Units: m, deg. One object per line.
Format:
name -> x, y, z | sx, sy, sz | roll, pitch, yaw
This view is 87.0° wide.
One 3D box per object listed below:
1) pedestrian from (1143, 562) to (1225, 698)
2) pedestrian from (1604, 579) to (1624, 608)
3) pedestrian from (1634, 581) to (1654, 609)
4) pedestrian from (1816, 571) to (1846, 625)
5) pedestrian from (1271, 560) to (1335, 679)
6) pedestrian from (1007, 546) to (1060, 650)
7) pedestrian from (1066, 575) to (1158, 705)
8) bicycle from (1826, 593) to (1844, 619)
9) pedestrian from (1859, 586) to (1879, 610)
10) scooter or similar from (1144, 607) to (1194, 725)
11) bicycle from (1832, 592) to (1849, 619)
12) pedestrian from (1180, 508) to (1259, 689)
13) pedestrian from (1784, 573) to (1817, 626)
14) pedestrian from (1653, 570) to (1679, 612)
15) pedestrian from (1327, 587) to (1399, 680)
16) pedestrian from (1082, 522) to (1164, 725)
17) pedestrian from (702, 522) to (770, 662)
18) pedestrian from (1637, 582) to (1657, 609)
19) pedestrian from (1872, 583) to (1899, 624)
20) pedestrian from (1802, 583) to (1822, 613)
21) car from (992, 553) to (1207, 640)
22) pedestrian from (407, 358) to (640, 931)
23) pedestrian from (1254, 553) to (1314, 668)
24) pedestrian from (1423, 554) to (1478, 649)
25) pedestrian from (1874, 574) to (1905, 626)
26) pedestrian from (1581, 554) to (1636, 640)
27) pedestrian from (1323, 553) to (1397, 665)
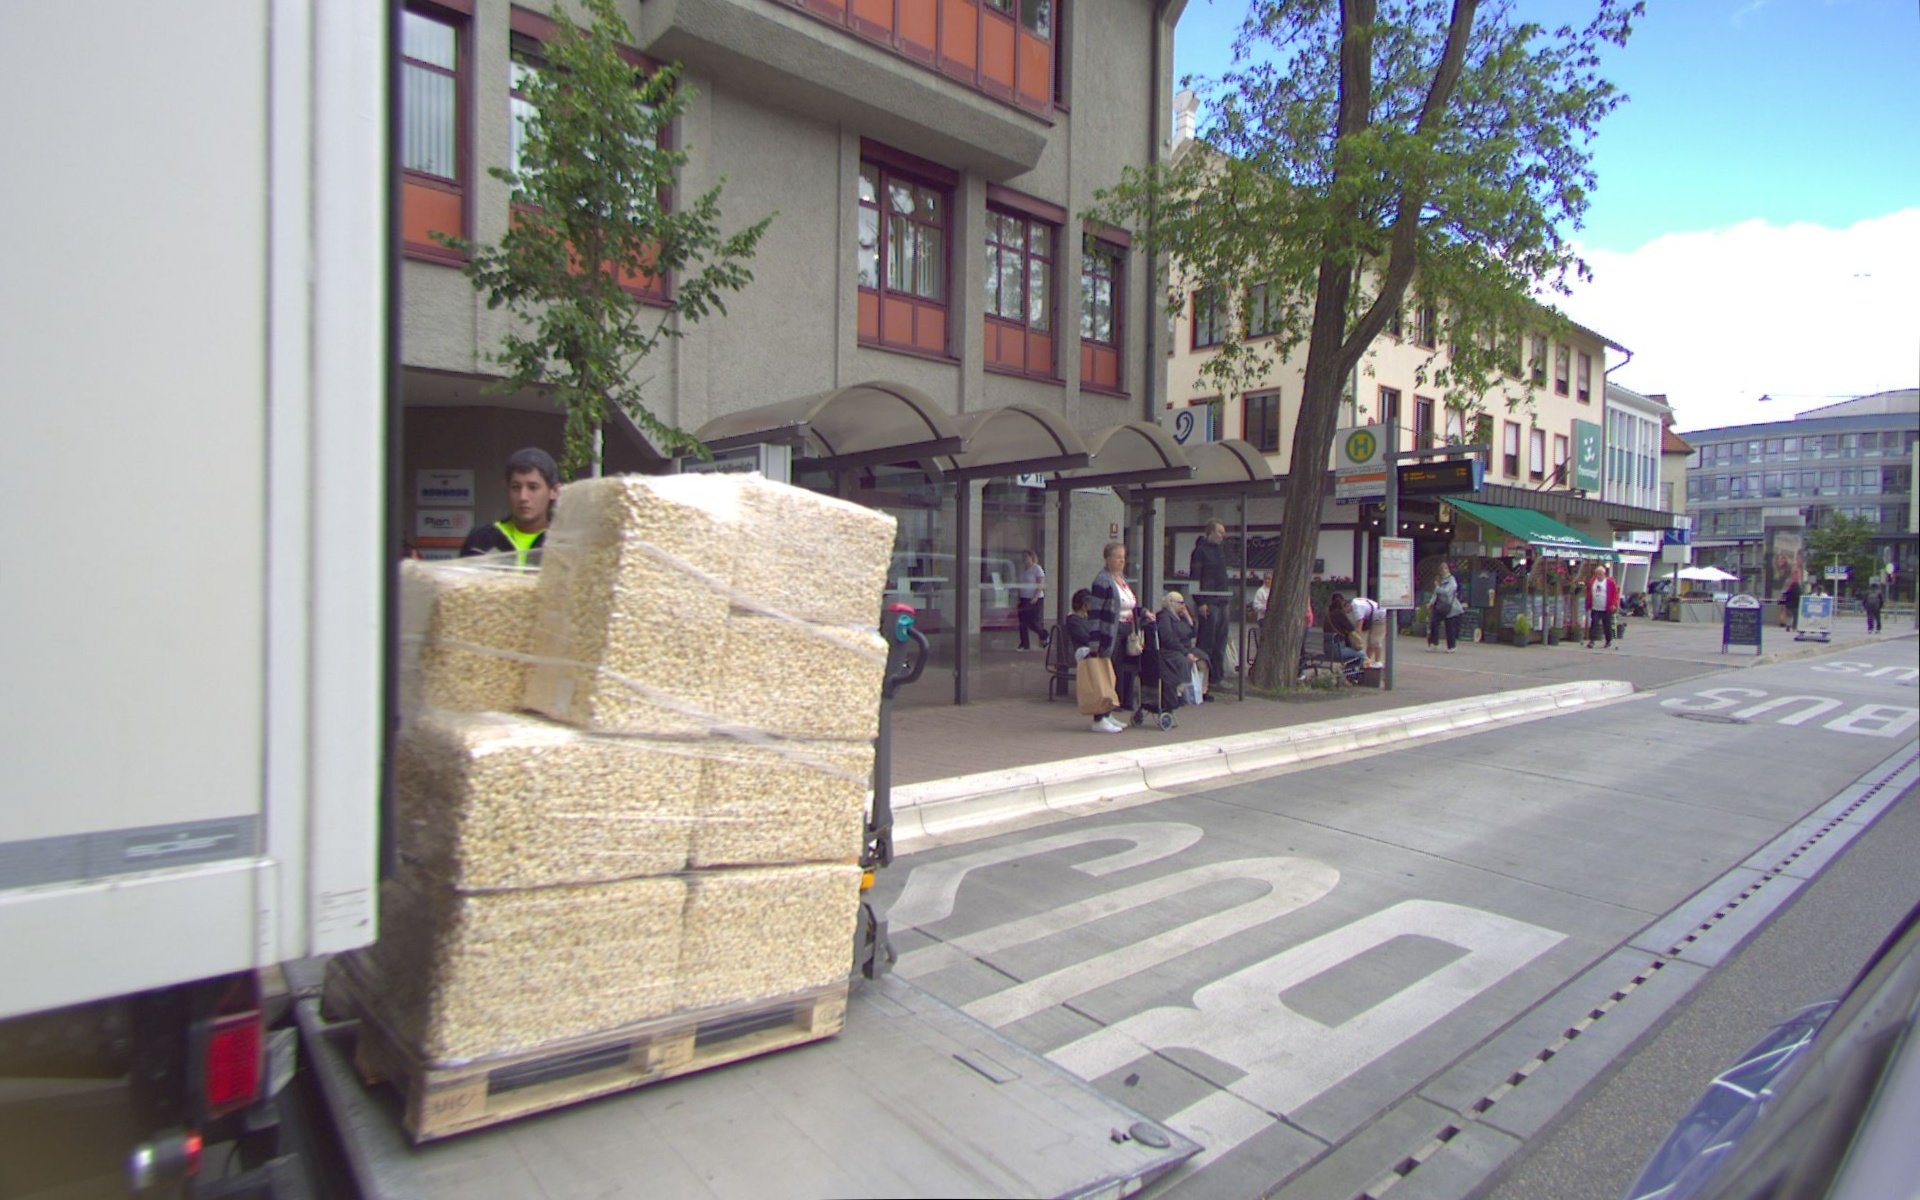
pedestrian -> 2.434, 0.304, 11.030 | 0.576, 1.418, 0.616 | 0, 3, -27
pedestrian -> 28.954, -0.276, 44.807 | 0.578, 1.236, 0.613 | 1, -2, -43
pedestrian -> 31.332, -0.236, 46.350 | 0.578, 1.235, 0.614 | 1, 2, -43
pedestrian -> 27.687, -0.074, 32.160 | 0.605, 1.654, 0.613 | -1, 3, -43
pedestrian -> 4.715, 0.268, 13.934 | 0.481, 1.587, 0.675 | 2, -1, -20
pedestrian -> 1.199, -0.046, 16.596 | 0.604, 1.655, 0.587 | 0, 1, -41
pedestrian -> 1.555, 0.391, 10.399 | 0.576, 1.247, 0.703 | 0, 3, -31
bicycle -> 34.221, 0.224, 39.579 | 1.362, 0.986, 0.274 | 0, 1, -40
pedestrian -> 65.305, -0.128, 72.697 | 0.834, 1.655, 0.642 | -1, -2, 16
scooter or similar -> 1.792, 0.555, 8.704 | 0.379, 0.971, 0.355 | 1, 1, 9
bicycle -> 35.295, 0.204, 40.581 | 1.362, 1.066, 0.274 | 0, 1, -40
pedestrian -> 3.069, -0.036, 11.995 | 0.576, 2.071, 0.616 | 0, 3, -27
pedestrian -> 27.156, -0.033, 32.701 | 0.605, 1.654, 0.719 | -1, 3, -43
pedestrian -> 27.876, -0.364, 39.966 | 0.787, 1.655, 0.667 | 0, 1, -43
pedestrian -> 5.312, 0.429, 13.349 | 0.711, 1.181, 0.579 | 1, 0, 43
pedestrian -> 1.391, 0.198, 8.617 | 0.530, 1.655, 0.583 | -1, -2, 25
pedestrian -> -2.752, -0.101, 12.417 | 0.604, 1.655, 0.587 | 1, 1, -39
pedestrian -> 31.766, -0.189, 46.794 | 0.578, 1.236, 0.613 | 1, -2, -43
pedestrian -> 38.517, 0.145, 42.110 | 0.838, 1.655, 0.689 | 0, 1, -42
pedestrian -> 46.789, -0.111, 55.573 | 0.580, 1.643, 0.740 | -1, -2, 18
car -> 2.827, -0.115, 21.519 | 1.845, 1.640, 4.619 | 0, 1, -36
pedestrian -> -1.550, 0.128, 3.597 | 0.578, 1.801, 0.613 | -2, 3, -44
pedestrian -> 4.806, 0.146, 15.013 | 0.577, 1.655, 0.615 | 0, 0, -36
pedestrian -> 9.481, 0.013, 19.558 | 0.683, 1.762, 0.770 | 4, 5, 44
pedestrian -> 31.201, -0.015, 33.972 | 0.604, 1.699, 0.614 | 0, 2, -38
pedestrian -> 13.870, -0.077, 21.643 | 0.795, 1.762, 0.770 | 4, 5, 44
pedestrian -> 6.198, 0.133, 15.696 | 0.778, 1.654, 0.616 | 1, 3, -29
